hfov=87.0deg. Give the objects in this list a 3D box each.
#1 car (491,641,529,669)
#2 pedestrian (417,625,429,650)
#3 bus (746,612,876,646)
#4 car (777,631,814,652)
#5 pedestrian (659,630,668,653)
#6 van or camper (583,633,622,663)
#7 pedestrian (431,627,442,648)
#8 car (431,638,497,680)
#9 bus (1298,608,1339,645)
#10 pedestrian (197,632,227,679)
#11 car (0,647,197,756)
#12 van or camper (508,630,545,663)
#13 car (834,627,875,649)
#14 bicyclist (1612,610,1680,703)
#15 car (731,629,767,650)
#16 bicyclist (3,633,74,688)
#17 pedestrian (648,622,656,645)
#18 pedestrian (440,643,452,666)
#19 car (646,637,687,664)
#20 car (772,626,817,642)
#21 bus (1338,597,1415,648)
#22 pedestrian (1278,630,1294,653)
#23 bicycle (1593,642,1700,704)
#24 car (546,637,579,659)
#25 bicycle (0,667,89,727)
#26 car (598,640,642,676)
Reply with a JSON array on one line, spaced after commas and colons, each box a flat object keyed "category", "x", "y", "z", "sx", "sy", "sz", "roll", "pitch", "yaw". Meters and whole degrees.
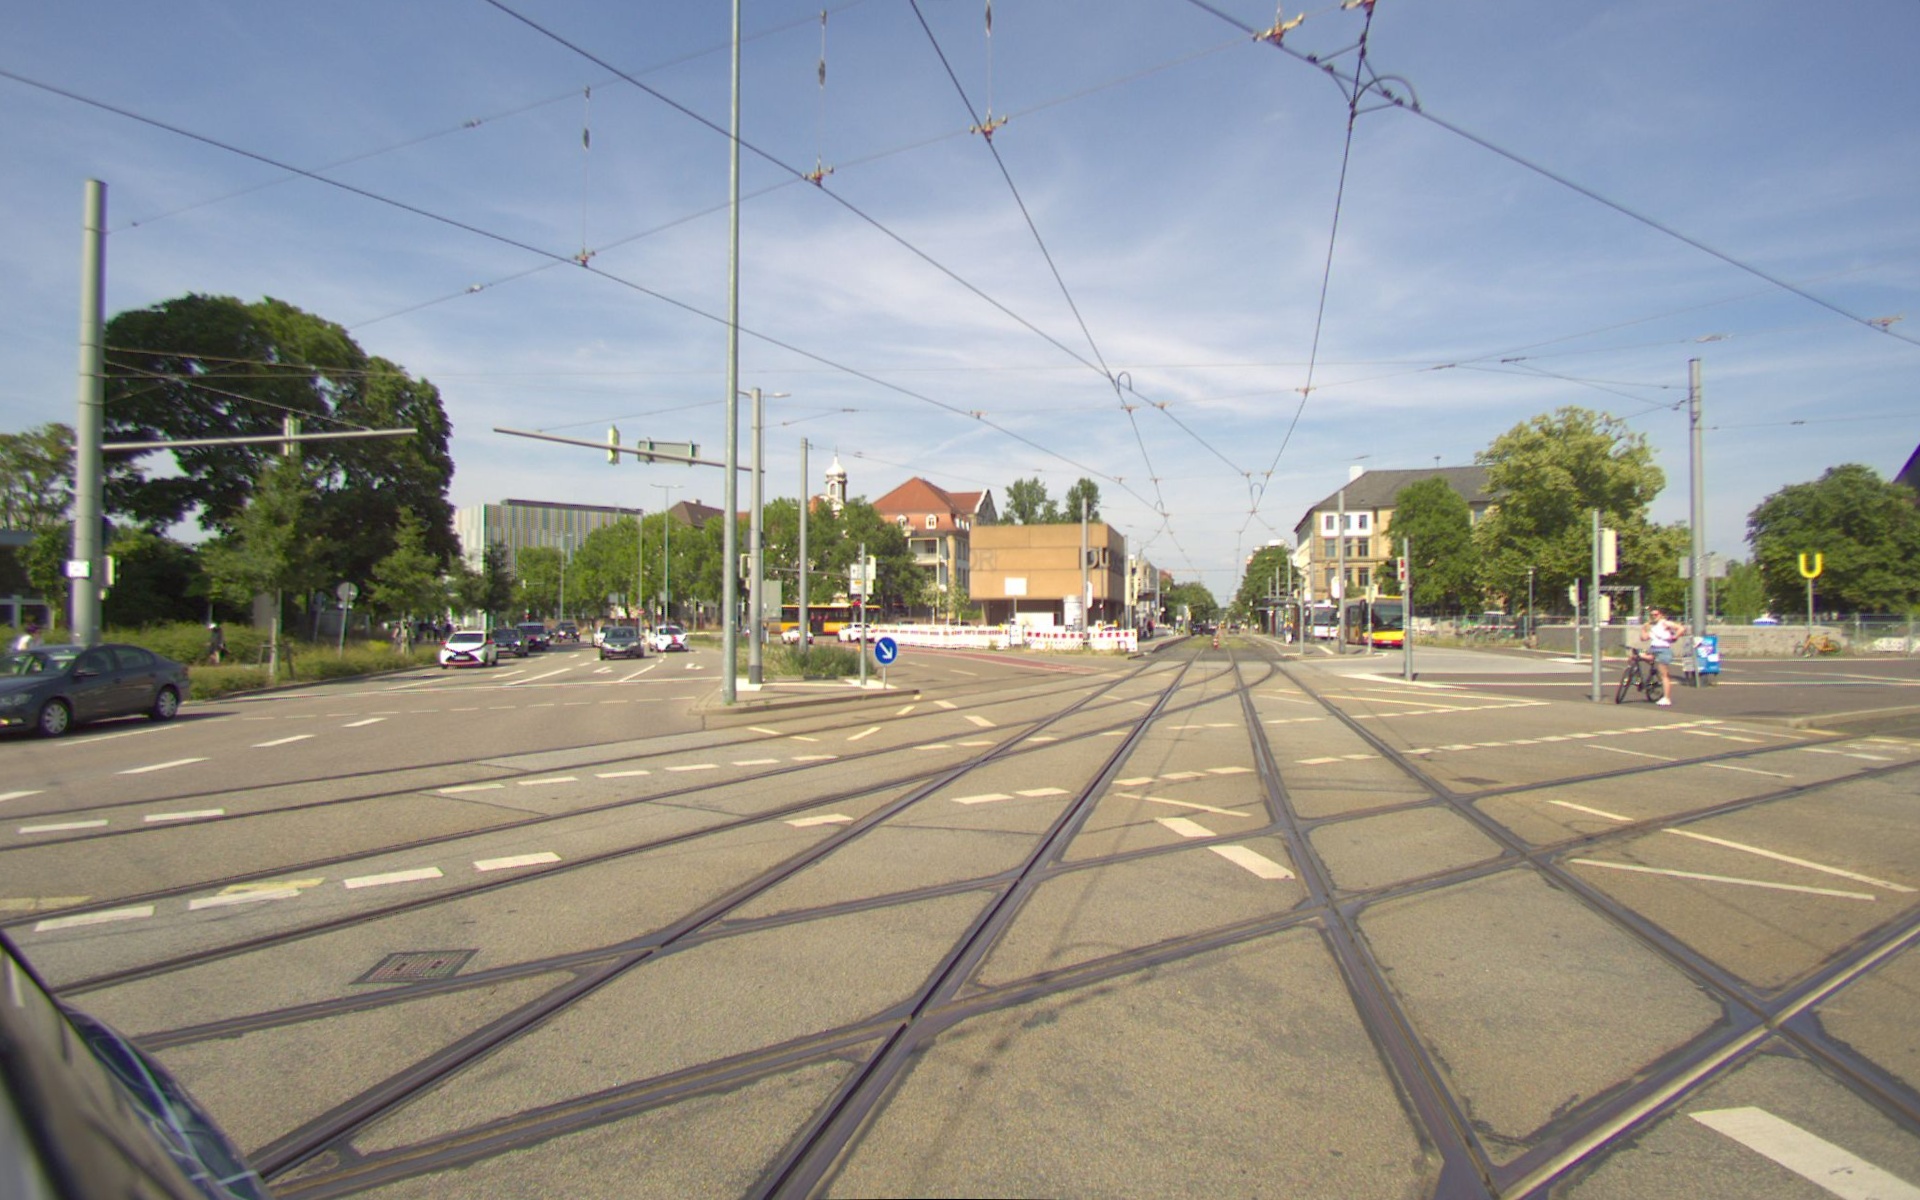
[{"category": "car", "x": -23.057, "y": 2.795, "z": 51.906, "sx": 1.386, "sy": 1.305, "sz": 3.592, "roll": 0, "pitch": -2, "yaw": -18}, {"category": "pedestrian", "x": -38.093, "y": 2.672, "z": 71.772, "sx": 0.633, "sy": 1.777, "sz": 0.476, "roll": 2, "pitch": -2, "yaw": -33}, {"category": "bus", "x": -13.987, "y": 2.735, "z": 95.835, "sx": 11.938, "sy": 3.062, "sz": 2.806, "roll": 1, "pitch": -2, "yaw": -28}, {"category": "car", "x": -11.181, "y": 2.802, "z": 68.663, "sx": 1.572, "sy": 1.296, "sz": 4.013, "roll": -2, "pitch": -1, "yaw": -23}, {"category": "pedestrian", "x": -22.230, "y": 3.131, "z": 75.897, "sx": 0.633, "sy": 1.686, "sz": 0.754, "roll": 0, "pitch": -2, "yaw": -12}, {"category": "van or camper", "x": -23.996, "y": 3.185, "z": 67.854, "sx": 1.887, "sy": 1.902, "sz": 4.938, "roll": 1, "pitch": -2, "yaw": -26}, {"category": "pedestrian", "x": -37.387, "y": 2.664, "z": 72.256, "sx": 0.633, "sy": 1.457, "sz": 0.571, "roll": 2, "pitch": -2, "yaw": -33}, {"category": "car", "x": -19.631, "y": 2.300, "z": 40.188, "sx": 1.654, "sy": 1.486, "sz": 3.771, "roll": -2, "pitch": -1, "yaw": -16}, {"category": "bus", "x": 33.859, "y": 2.531, "z": 95.959, "sx": 2.733, "sy": 3.348, "sz": 11.729, "roll": -1, "pitch": -2, "yaw": 15}, {"category": "pedestrian", "x": -27.206, "y": 2.023, "z": 36.821, "sx": 0.583, "sy": 1.677, "sz": 0.733, "roll": 2, "pitch": -1, "yaw": -12}, {"category": "car", "x": -15.032, "y": 1.594, "z": 16.894, "sx": 1.610, "sy": 1.446, "sz": 4.535, "roll": -1, "pitch": -1, "yaw": -7}, {"category": "van or camper", "x": -27.065, "y": 2.852, "z": 63.083, "sx": 1.701, "sy": 1.902, "sz": 4.938, "roll": -2, "pitch": -1, "yaw": -28}, {"category": "car", "x": -7.520, "y": 2.697, "z": 71.756, "sx": 1.772, "sy": 1.431, "sz": 4.013, "roll": -2, "pitch": -1, "yaw": -23}, {"category": "bicyclist", "x": 12.765, "y": 1.045, "z": 18.851, "sx": 0.763, "sy": 1.697, "sz": 0.754, "roll": 2, "pitch": -2, "yaw": -22}, {"category": "car", "x": -14.282, "y": 2.641, "z": 68.389, "sx": 1.572, "sy": 1.296, "sz": 4.013, "roll": -2, "pitch": -1, "yaw": -23}, {"category": "bicyclist", "x": -18.405, "y": 1.198, "z": 20.218, "sx": 0.910, "sy": 1.036, "sz": 0.711, "roll": 1, "pitch": -1, "yaw": 22}, {"category": "pedestrian", "x": -22.809, "y": 2.486, "z": 74.939, "sx": 0.533, "sy": 1.686, "sz": 0.754, "roll": 0, "pitch": -2, "yaw": -12}, {"category": "pedestrian", "x": -37.177, "y": 3.941, "z": 73.177, "sx": 0.633, "sy": 1.686, "sz": 0.754, "roll": 2, "pitch": -2, "yaw": -31}, {"category": "car", "x": -16.116, "y": 2.741, "z": 55.455, "sx": 1.627, "sy": 1.425, "sz": 3.876, "roll": 0, "pitch": -2, "yaw": -25}, {"category": "car", "x": -16.324, "y": 3.336, "z": 99.821, "sx": 4.044, "sy": 1.454, "sz": 1.764, "roll": -2, "pitch": -1, "yaw": -33}, {"category": "bus", "x": 24.883, "y": 1.225, "z": 61.058, "sx": 2.733, "sy": 2.703, "sz": 11.730, "roll": -2, "pitch": -1, "yaw": 15}, {"category": "pedestrian", "x": 20.272, "y": 2.557, "z": 62.886, "sx": 0.530, "sy": 1.377, "sz": 0.914, "roll": -2, "pitch": -1, "yaw": -12}, {"category": "bicycle", "x": 12.780, "y": 1.358, "z": 18.837, "sx": 1.817, "sy": 1.092, "sz": 0.754, "roll": 2, "pitch": -2, "yaw": -22}, {"category": "car", "x": -33.839, "y": 4.040, "z": 86.078, "sx": 1.931, "sy": 1.807, "sz": 4.012, "roll": 1, "pitch": -2, "yaw": -31}, {"category": "bicycle", "x": -18.363, "y": 1.914, "z": 20.178, "sx": 1.906, "sy": 1.023, "sz": 0.711, "roll": 1, "pitch": -1, "yaw": 23}, {"category": "car", "x": -15.352, "y": 2.580, "z": 45.831, "sx": 1.624, "sy": 1.435, "sz": 4.132, "roll": -2, "pitch": -1, "yaw": -15}]
